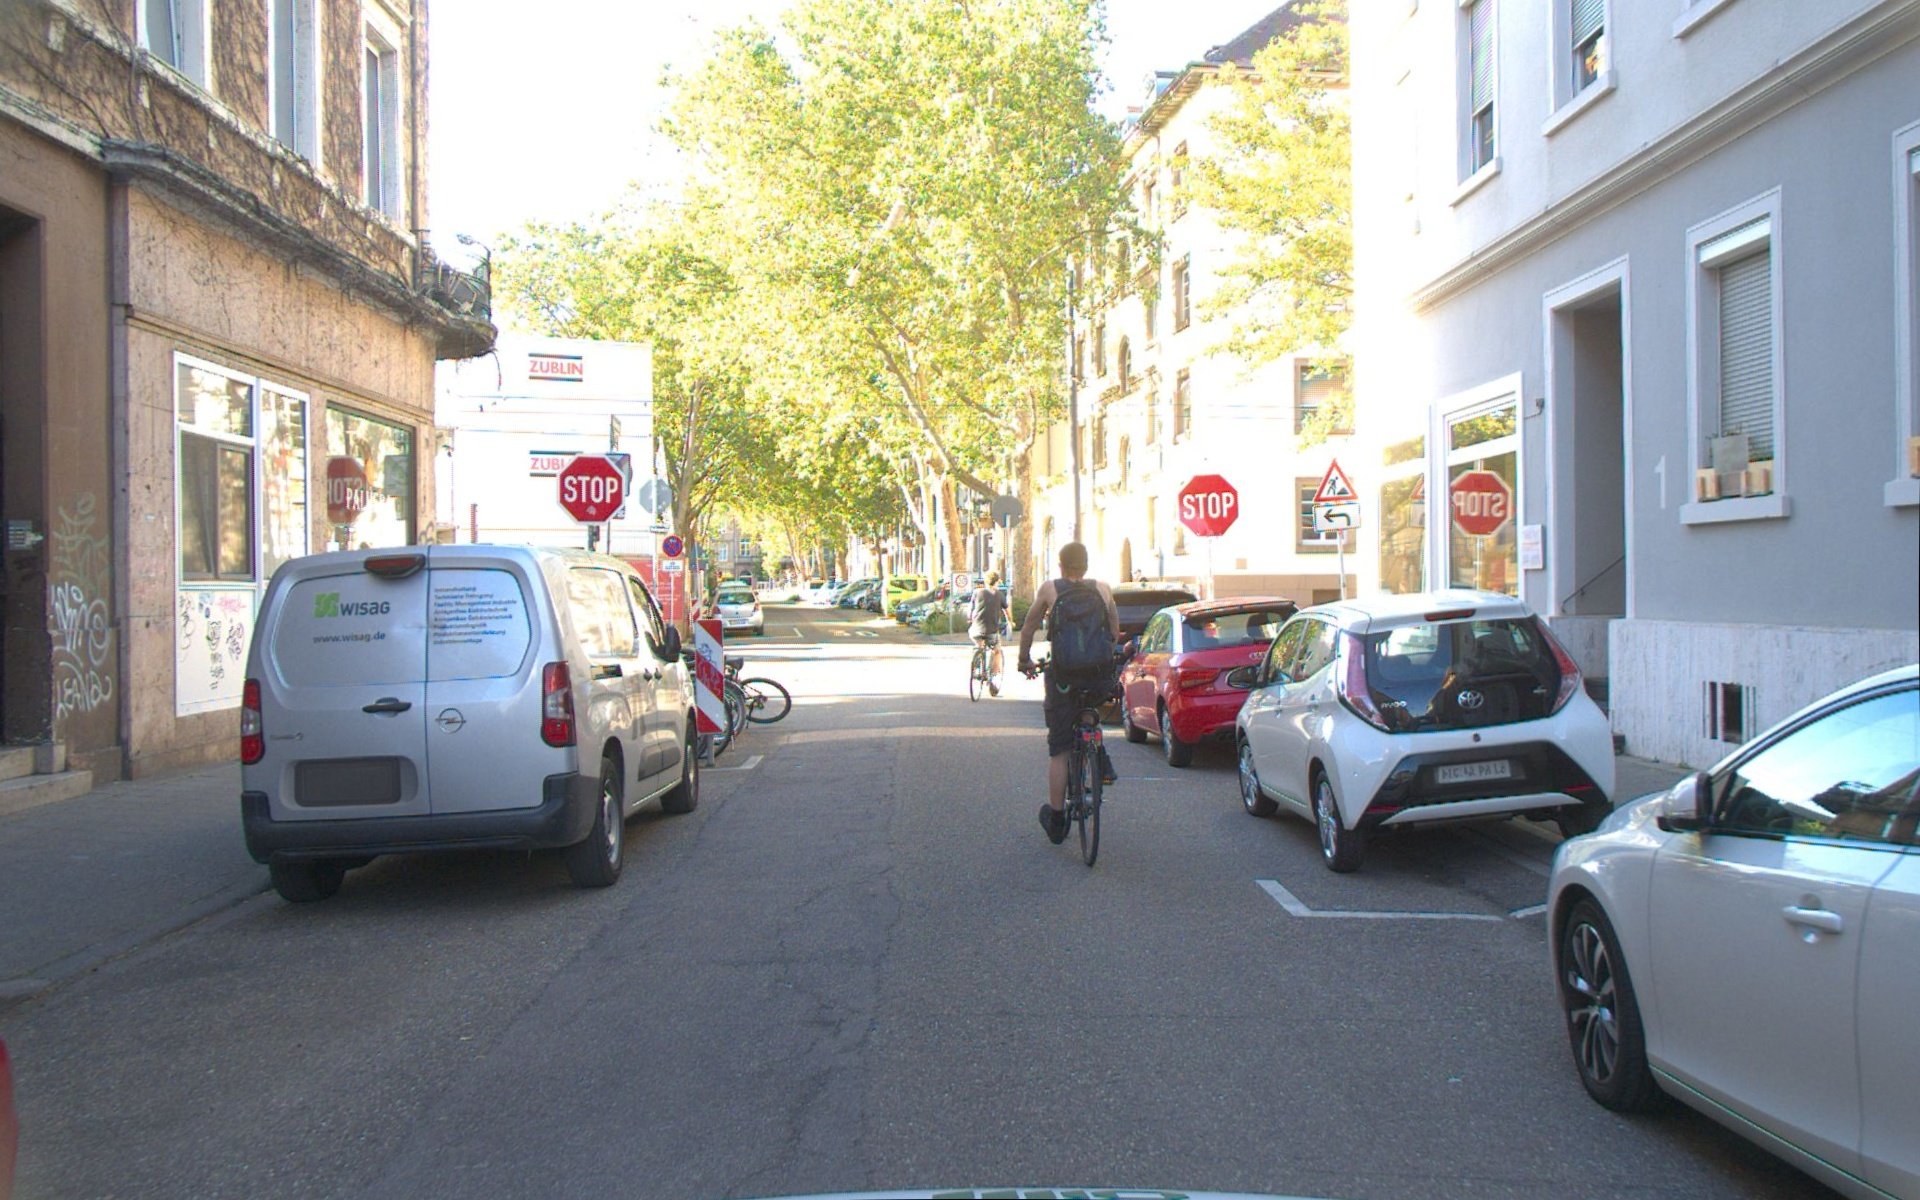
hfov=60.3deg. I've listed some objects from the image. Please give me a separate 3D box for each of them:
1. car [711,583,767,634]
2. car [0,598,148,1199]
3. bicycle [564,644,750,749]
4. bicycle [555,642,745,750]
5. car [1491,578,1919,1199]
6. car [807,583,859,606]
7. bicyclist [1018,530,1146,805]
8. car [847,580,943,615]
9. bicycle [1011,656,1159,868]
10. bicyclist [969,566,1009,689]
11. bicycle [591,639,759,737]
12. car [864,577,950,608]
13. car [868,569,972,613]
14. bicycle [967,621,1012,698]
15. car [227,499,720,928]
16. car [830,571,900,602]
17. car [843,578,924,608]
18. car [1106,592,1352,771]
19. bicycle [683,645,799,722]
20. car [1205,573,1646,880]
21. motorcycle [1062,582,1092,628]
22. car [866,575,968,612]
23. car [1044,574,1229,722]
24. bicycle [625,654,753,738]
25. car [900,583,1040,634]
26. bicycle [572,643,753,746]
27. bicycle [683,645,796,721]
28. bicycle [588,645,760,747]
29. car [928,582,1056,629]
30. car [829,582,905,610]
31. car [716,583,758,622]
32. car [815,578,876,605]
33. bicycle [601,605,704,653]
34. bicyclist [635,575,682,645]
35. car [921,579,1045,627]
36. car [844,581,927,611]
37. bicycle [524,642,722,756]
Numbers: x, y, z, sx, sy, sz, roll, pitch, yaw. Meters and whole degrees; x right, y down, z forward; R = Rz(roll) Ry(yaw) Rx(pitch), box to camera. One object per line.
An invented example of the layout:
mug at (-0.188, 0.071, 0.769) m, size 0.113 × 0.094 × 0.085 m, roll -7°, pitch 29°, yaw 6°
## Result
car at (-7.221, 0.257, 53.908) m, size 1.614 × 1.520 × 3.991 m, roll -3°, pitch 1°, yaw -10°
car at (-2.596, 0.796, 1.598) m, size 1.645 × 1.499 × 4.201 m, roll -3°, pitch 0°, yaw -2°
bicycle at (-2.952, 0.936, 16.191) m, size 1.729 × 0.978 × 0.422 m, roll -1°, pitch 0°, yaw -3°
bicycle at (-2.946, 0.908, 15.774) m, size 1.729 × 0.978 × 0.405 m, roll -1°, pitch 0°, yaw -3°
car at (2.719, 0.737, 3.593) m, size 1.645 × 1.537 × 4.188 m, roll 1°, pitch 0°, yaw -2°
car at (-10.927, -0.511, 142.035) m, size 4.379 × 1.931 × 1.725 m, roll -1°, pitch 0°, yaw -9°
bicyclist at (0.700, 0.381, 9.677) m, size 0.662 × 1.539 × 0.668 m, roll 1°, pitch 0°, yaw -1°
car at (-3.083, -0.126, 78.156) m, size 4.379 × 1.598 × 1.725 m, roll -1°, pitch 1°, yaw -9°
bicycle at (0.694, 0.893, 9.722) m, size 0.675 × 1.034 × 1.907 m, roll 1°, pitch 0°, yaw -1°
bicyclist at (0.406, 0.382, 23.425) m, size 0.531 × 1.717 × 0.653 m, roll 0°, pitch 0°, yaw -2°
bicycle at (-3.027, 0.927, 17.636) m, size 1.732 × 0.978 × 0.427 m, roll -1°, pitch 0°, yaw -9°
car at (-2.839, -0.404, 87.676) m, size 4.379 × 1.598 × 1.725 m, roll -1°, pitch 1°, yaw -9°
car at (-1.759, -0.397, 72.340) m, size 4.380 × 1.868 × 1.724 m, roll -1°, pitch 0°, yaw -10°
bicycle at (0.404, 0.820, 23.430) m, size 0.540 × 1.034 × 1.628 m, roll 0°, pitch 0°, yaw -2°
car at (-2.646, 0.524, 10.152) m, size 1.645 × 1.943 × 4.518 m, roll -3°, pitch 0°, yaw -1°
car at (-6.185, -0.880, 107.448) m, size 4.379 × 1.931 × 1.725 m, roll -1°, pitch 0°, yaw -9°
car at (-4.325, -0.403, 93.187) m, size 4.379 × 1.598 × 1.725 m, roll -1°, pitch 1°, yaw -9°
car at (2.528, 0.706, 16.436) m, size 1.612 × 1.529 × 3.953 m, roll 1°, pitch 0°, yaw -3°
bicycle at (-2.510, 0.952, 18.932) m, size 1.285 × 0.832 × 0.354 m, roll -1°, pitch 0°, yaw -11°
car at (2.762, 0.662, 10.681) m, size 1.604 × 1.614 × 3.786 m, roll 1°, pitch 0°, yaw -3°
motorcycle at (3.587, 0.139, 50.803) m, size 0.504 × 1.356 × 1.759 m, roll 0°, pitch 1°, yaw -10°
car at (-1.942, -0.288, 74.348) m, size 4.379 × 1.598 × 1.725 m, roll -1°, pitch 1°, yaw -9°
car at (2.166, 0.546, 21.346) m, size 1.725 × 1.691 × 4.195 m, roll 1°, pitch 0°, yaw -3°
bicycle at (-3.029, 1.065, 18.469) m, size 1.362 × 0.832 × 0.361 m, roll -3°, pitch 1°, yaw -11°
car at (0.305, 0.265, 54.513) m, size 4.379 × 1.598 × 1.725 m, roll -1°, pitch 1°, yaw -9°
bicycle at (-2.969, 0.940, 16.593) m, size 1.729 × 0.978 × 0.443 m, roll -1°, pitch 0°, yaw -3°
bicycle at (-2.571, 0.962, 19.300) m, size 1.285 × 0.832 × 0.370 m, roll -1°, pitch 0°, yaw -11°
bicycle at (-2.974, 0.986, 17.205) m, size 1.734 × 0.978 × 0.480 m, roll -1°, pitch 0°, yaw -14°
car at (1.118, 0.174, 59.502) m, size 4.379 × 1.598 × 1.725 m, roll -1°, pitch 1°, yaw -9°
car at (-5.504, -0.271, 97.824) m, size 4.379 × 1.598 × 1.725 m, roll -1°, pitch 1°, yaw -9°
car at (-9.479, 0.090, 70.151) m, size 1.635 × 1.590 × 3.991 m, roll -1°, pitch 1°, yaw -10°
car at (-8.534, -0.645, 122.819) m, size 4.379 × 1.931 × 1.725 m, roll -1°, pitch 0°, yaw -9°
bicycle at (-7.381, 0.694, 39.780) m, size 2.377 × 1.112 × 0.894 m, roll 0°, pitch -1°, yaw -8°
bicyclist at (-7.251, 0.237, 39.805) m, size 1.076 × 1.668 × 0.894 m, roll 0°, pitch -1°, yaw -8°
car at (0.826, 0.091, 61.564) m, size 4.379 × 1.700 × 1.725 m, roll -1°, pitch 1°, yaw -9°
car at (-4.115, -0.249, 90.721) m, size 4.379 × 1.598 × 1.725 m, roll -1°, pitch 1°, yaw -9°
bicycle at (-3.104, 0.907, 15.303) m, size 1.729 × 1.006 × 0.463 m, roll -1°, pitch 0°, yaw -2°
